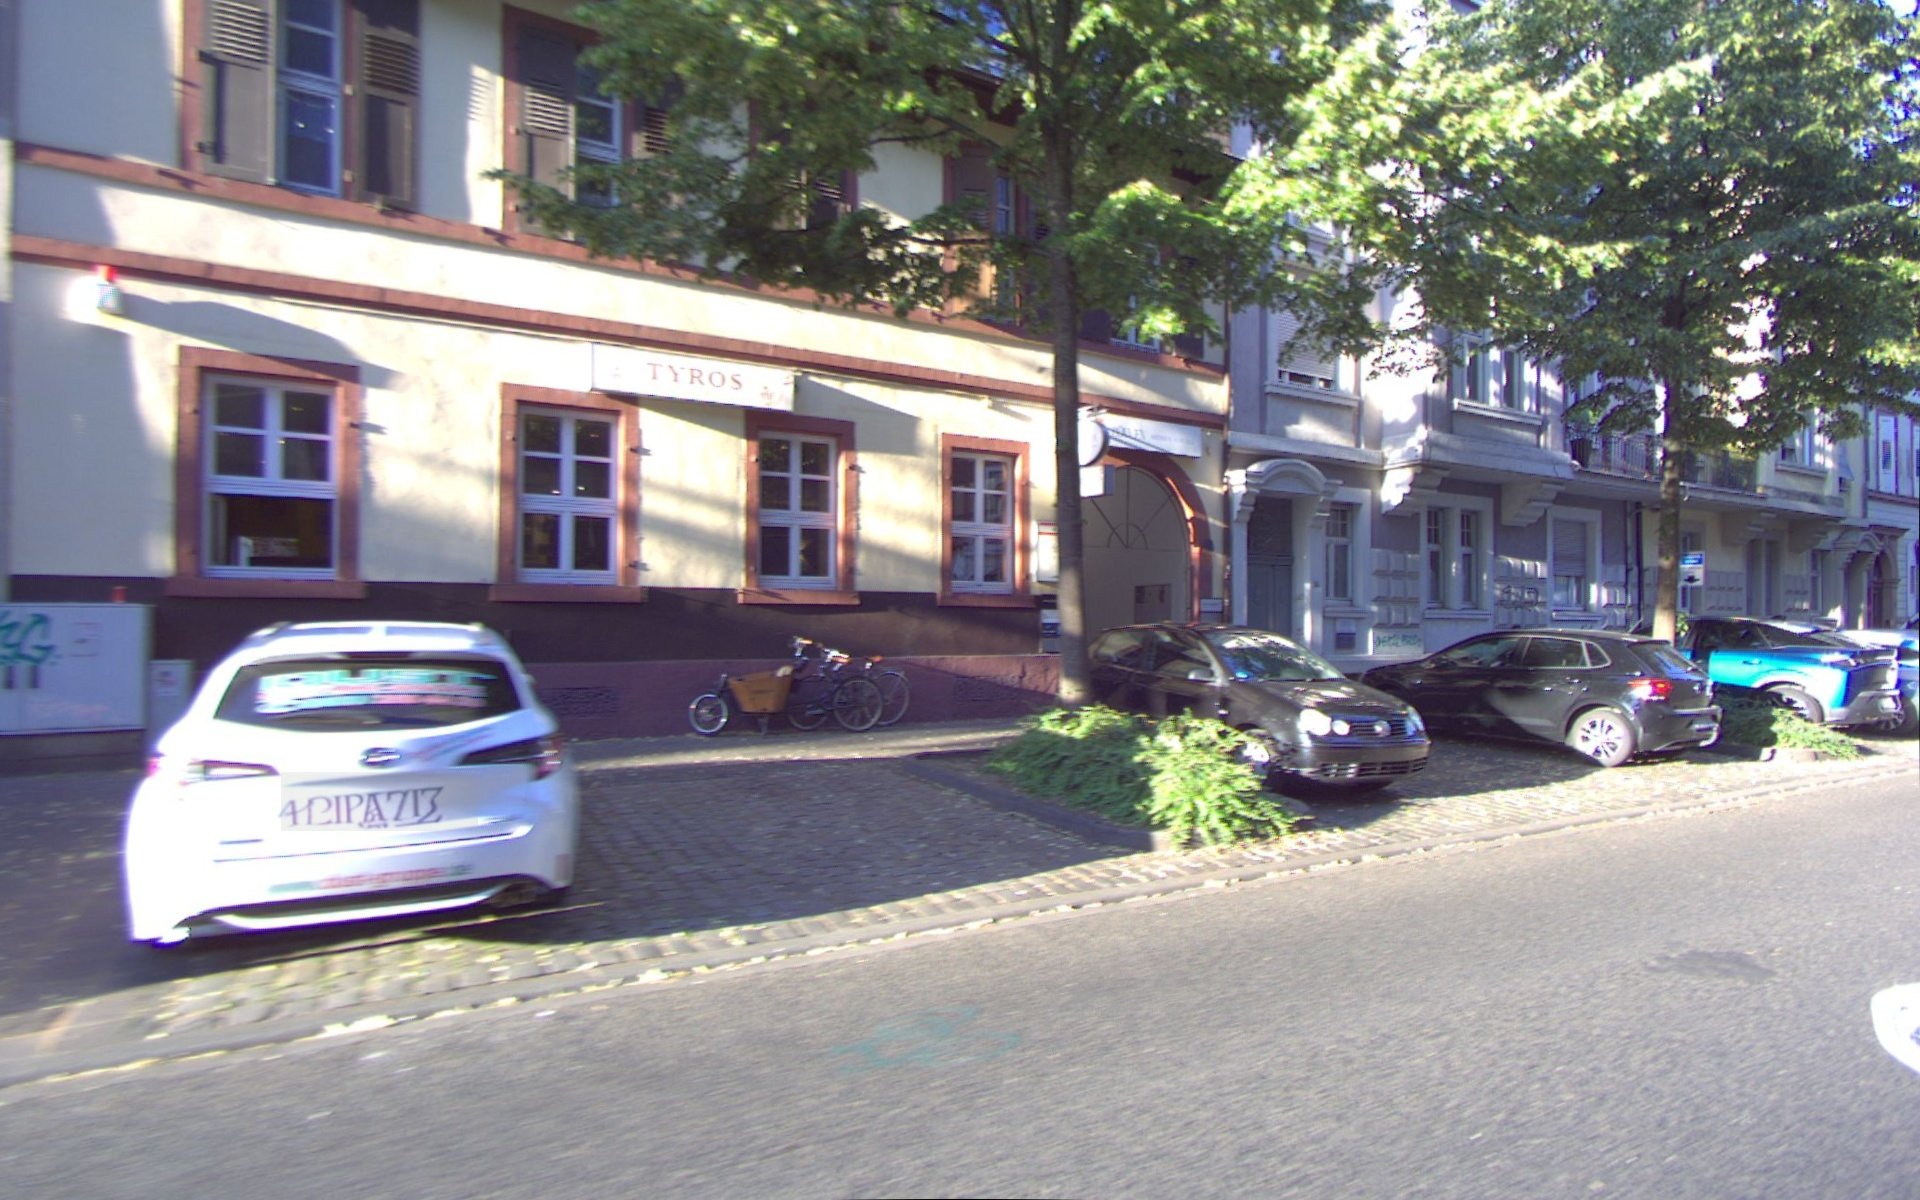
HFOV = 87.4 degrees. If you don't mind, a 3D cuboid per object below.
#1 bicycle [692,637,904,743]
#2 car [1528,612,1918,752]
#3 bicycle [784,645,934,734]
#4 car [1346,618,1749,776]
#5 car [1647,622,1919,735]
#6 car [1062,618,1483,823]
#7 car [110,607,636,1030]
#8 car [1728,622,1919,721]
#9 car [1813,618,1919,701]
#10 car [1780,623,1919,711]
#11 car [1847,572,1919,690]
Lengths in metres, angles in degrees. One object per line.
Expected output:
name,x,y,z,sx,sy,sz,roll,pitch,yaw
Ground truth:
bicycle,-1.871,1.007,11.733,2.332,1.114,0.708,1,0,-26
car,11.014,1.053,14.808,1.873,1.672,4.205,1,0,-33
bicycle,-1.232,1.069,12.319,1.710,1.002,0.618,1,0,-26
car,6.911,1.021,12.231,1.678,1.468,3.893,1,1,-32
car,13.642,1.155,15.878,1.947,1.502,4.165,1,0,-30
car,2.763,0.960,9.746,1.766,1.468,3.770,1,0,-27
car,-3.300,0.802,5.916,1.801,1.442,4.361,1,0,-30
car,15.930,1.199,17.667,1.822,1.530,3.396,1,0,-26
car,20.251,1.235,20.286,1.951,1.621,4.195,1,0,-28
car,18.171,1.258,18.659,1.772,1.526,4.193,1,0,-30
car,23.309,0.734,21.847,2.145,2.656,5.633,1,0,-29
